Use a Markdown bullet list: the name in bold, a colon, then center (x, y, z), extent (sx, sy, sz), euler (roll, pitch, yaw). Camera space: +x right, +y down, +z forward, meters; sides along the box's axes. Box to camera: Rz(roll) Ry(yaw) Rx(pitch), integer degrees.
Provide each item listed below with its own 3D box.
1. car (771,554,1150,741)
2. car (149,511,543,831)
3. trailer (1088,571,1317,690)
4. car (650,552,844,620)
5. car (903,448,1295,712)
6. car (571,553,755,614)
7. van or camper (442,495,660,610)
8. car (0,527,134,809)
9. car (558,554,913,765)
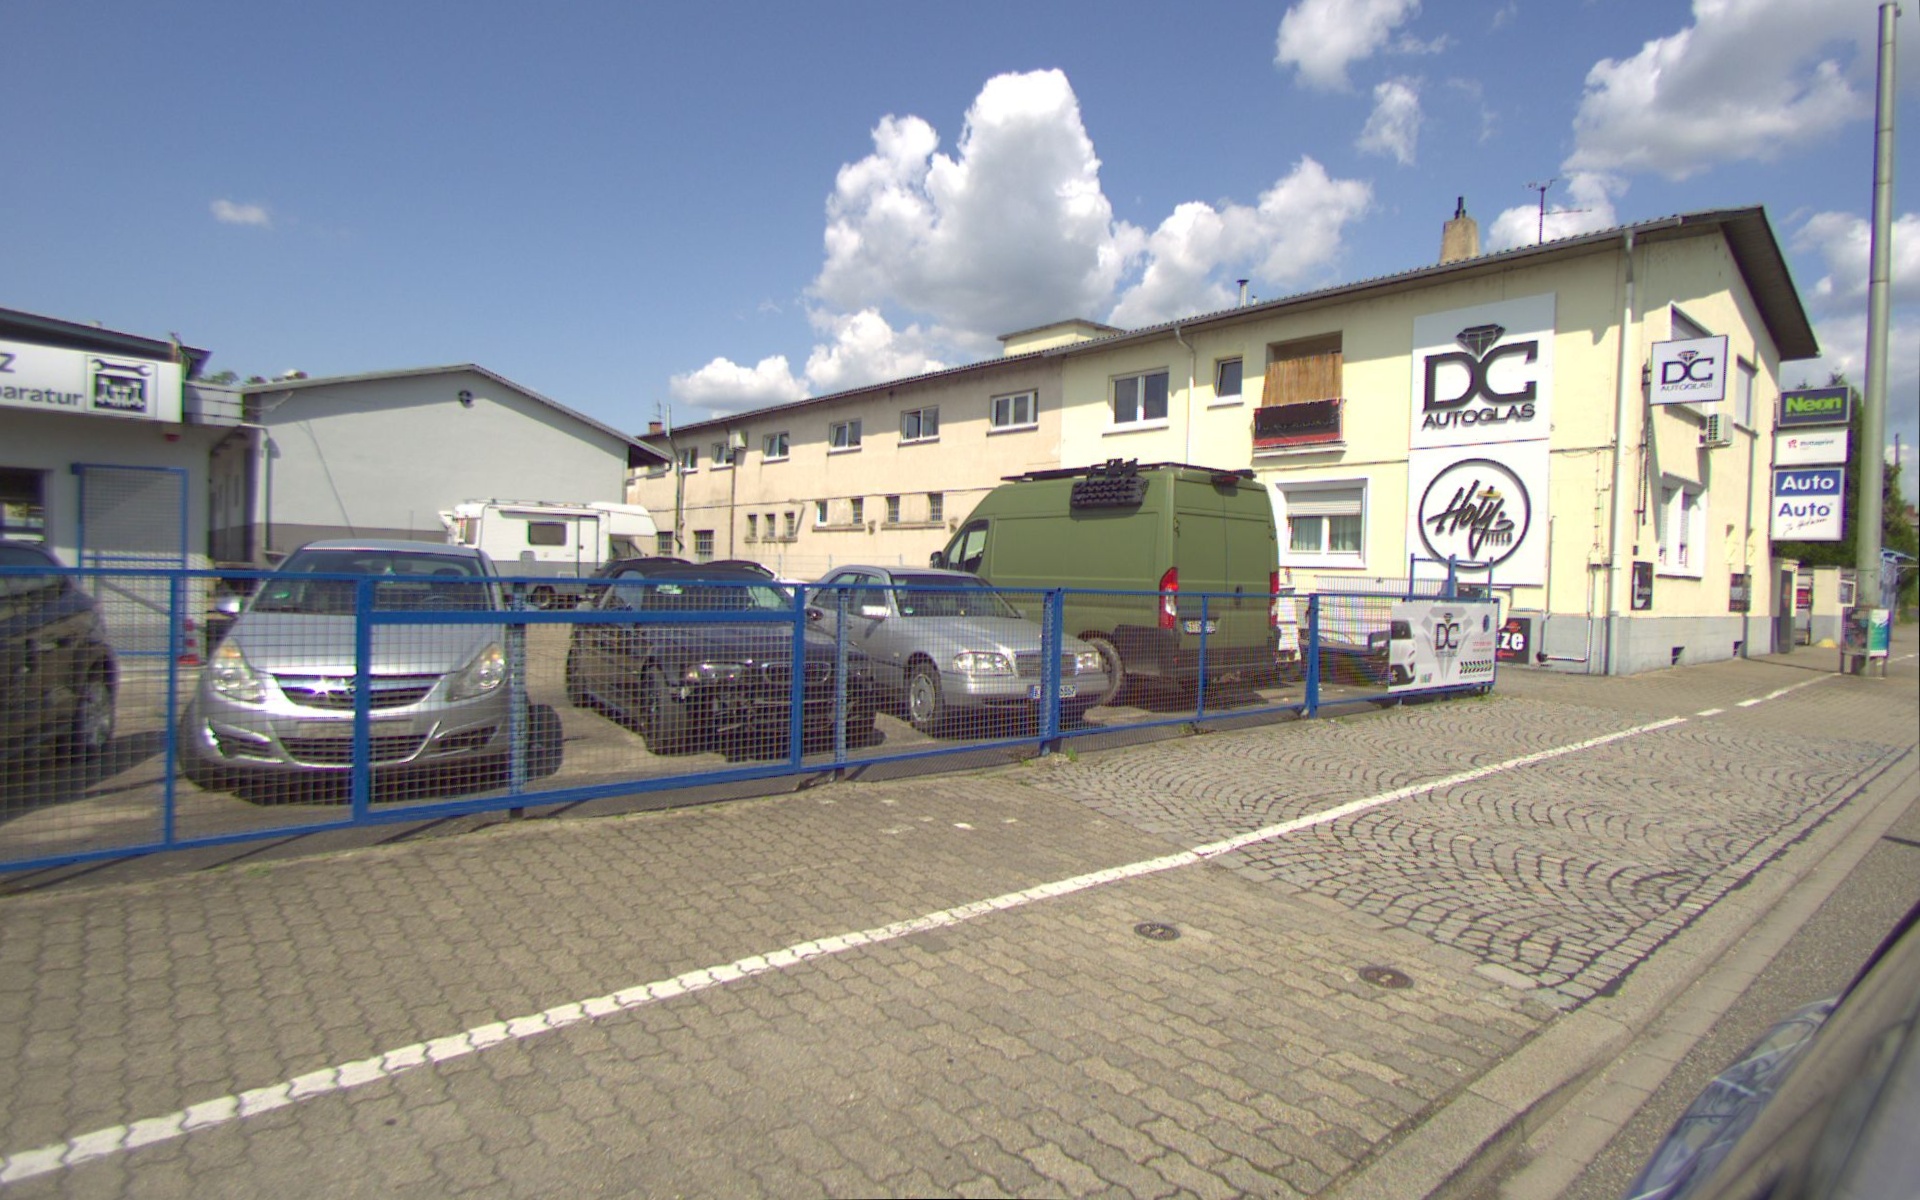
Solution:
- **car**: center (-0.234, 0.292, 10.175), extent (1.785, 1.449, 4.200), euler (0, 2, -33)
- **car**: center (-3.899, 0.261, 6.964), extent (1.714, 1.515, 4.008), euler (0, 2, -25)
- **trailer**: center (3.212, 0.338, 13.733), extent (1.280, 1.349, 2.789), euler (0, 3, -40)
- **car**: center (-4.907, -0.346, 23.621), extent (4.110, 1.433, 1.756), euler (-1, 3, -42)
- **car**: center (1.483, -0.288, 12.427), extent (2.112, 2.605, 4.549), euler (0, 2, -38)
- **car**: center (-7.557, -0.447, 25.944), extent (4.110, 1.405, 1.925), euler (-1, 3, -42)
- **van or camper**: center (-10.993, -1.252, 27.424), extent (4.978, 2.807, 2.311), euler (-1, 3, -44)
- **car**: center (-5.693, 0.353, 4.805), extent (1.675, 1.460, 4.009), euler (1, 2, -23)
- **car**: center (-2.176, 0.315, 8.834), extent (1.784, 1.372, 4.004), euler (0, 2, -32)
